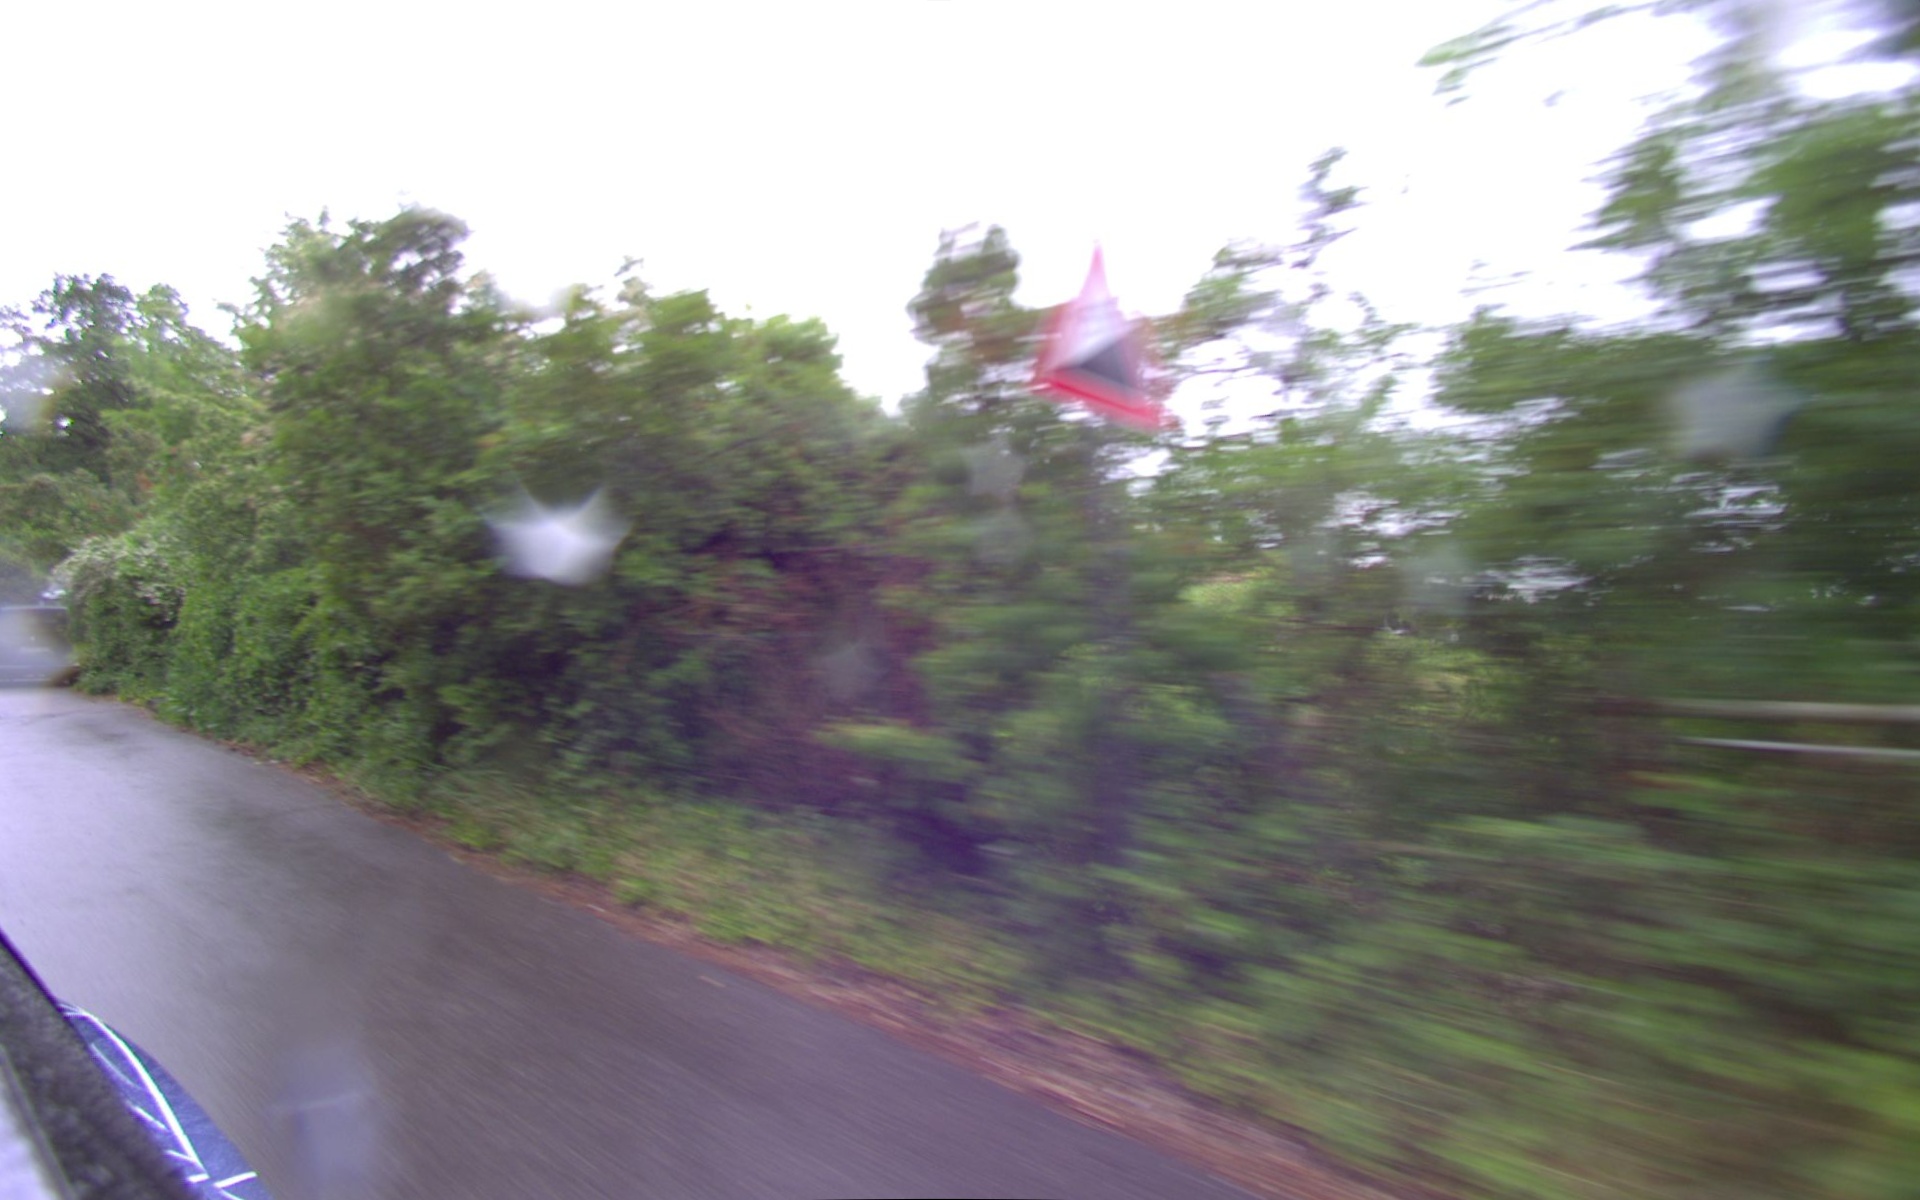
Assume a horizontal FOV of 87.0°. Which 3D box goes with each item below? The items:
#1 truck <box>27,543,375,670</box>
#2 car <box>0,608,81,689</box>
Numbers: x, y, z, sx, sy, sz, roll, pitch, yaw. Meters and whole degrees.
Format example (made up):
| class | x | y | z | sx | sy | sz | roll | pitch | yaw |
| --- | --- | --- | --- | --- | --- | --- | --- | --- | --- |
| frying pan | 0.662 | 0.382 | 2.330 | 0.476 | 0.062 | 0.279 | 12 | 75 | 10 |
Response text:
| class | x | y | z | sx | sy | sz | roll | pitch | yaw |
| --- | --- | --- | --- | --- | --- | --- | --- | --- | --- |
| truck | -24.595 | 0.185 | 33.161 | 9.116 | 3.743 | 2.769 | -2 | 0 | -2 |
| car | -21.895 | 1.106 | 23.502 | 4.067 | 1.740 | 1.668 | -1 | -3 | 42 |
